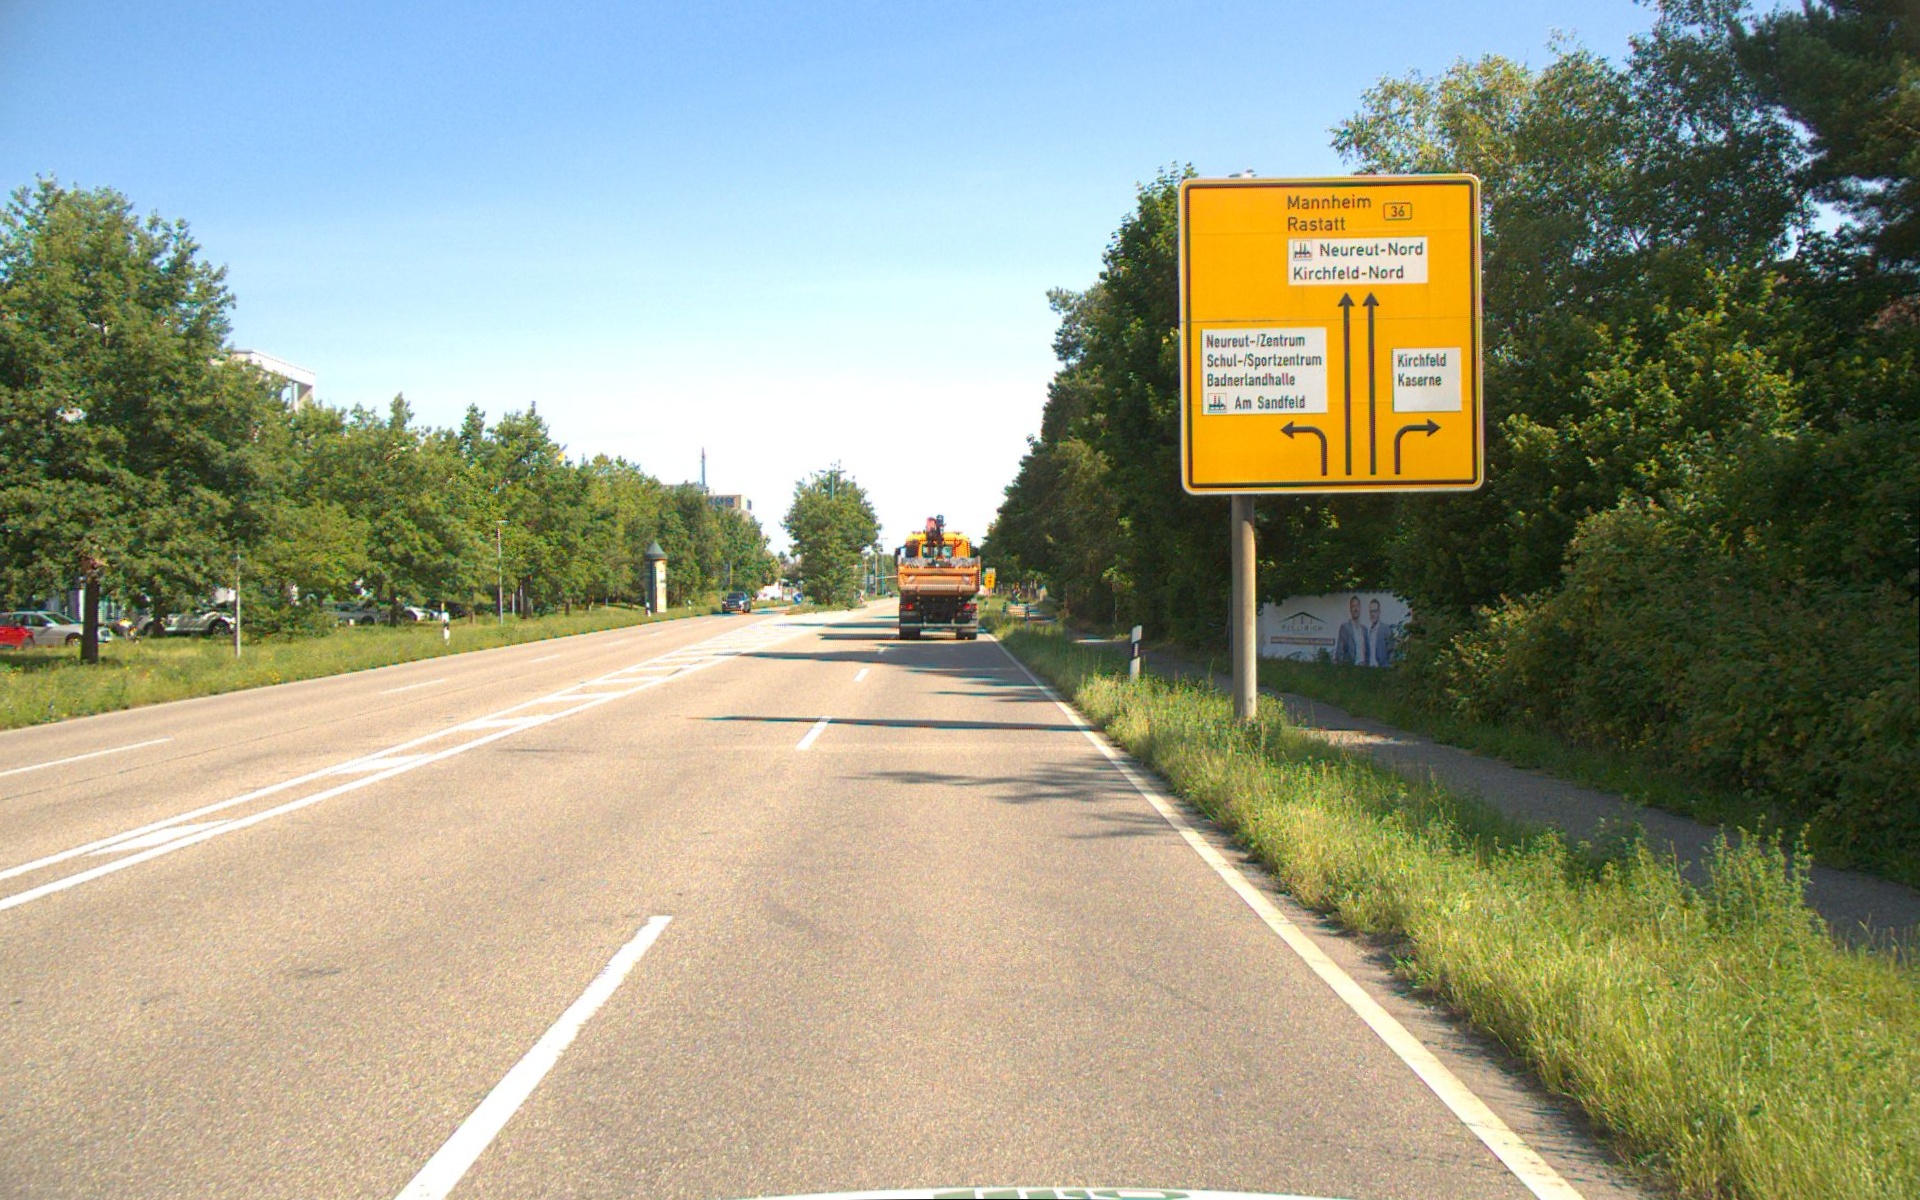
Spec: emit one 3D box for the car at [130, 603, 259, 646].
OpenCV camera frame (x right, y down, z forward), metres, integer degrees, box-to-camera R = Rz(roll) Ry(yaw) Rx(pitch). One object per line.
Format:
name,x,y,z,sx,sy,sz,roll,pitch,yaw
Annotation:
car,-32.709,1.018,70.763,4.501,1.679,2.000,-1,1,-1

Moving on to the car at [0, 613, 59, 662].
car,-31.077,1.226,52.841,1.952,1.462,4.611,-1,1,1

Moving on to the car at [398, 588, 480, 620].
car,-32.898,0.243,104.449,4.439,1.788,2.001,-2,1,2

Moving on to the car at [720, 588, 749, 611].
car,-17.316,-0.055,127.110,1.764,1.599,3.999,-2,1,-1

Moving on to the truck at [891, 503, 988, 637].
truck,-0.766,-0.924,53.018,2.814,3.948,7.396,1,1,-3

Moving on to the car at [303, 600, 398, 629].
car,-33.622,0.784,91.336,4.501,1.462,2.000,-1,1,-1

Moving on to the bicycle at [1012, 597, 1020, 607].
bicycle,4.910,0.149,144.368,0.547,0.830,1.963,-2,1,-1

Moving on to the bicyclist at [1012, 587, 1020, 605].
bicyclist,4.882,-0.360,144.326,0.547,1.585,0.557,-2,0,-1

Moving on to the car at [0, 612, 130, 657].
car,-32.284,1.232,58.772,4.501,1.462,2.000,-1,1,-1
